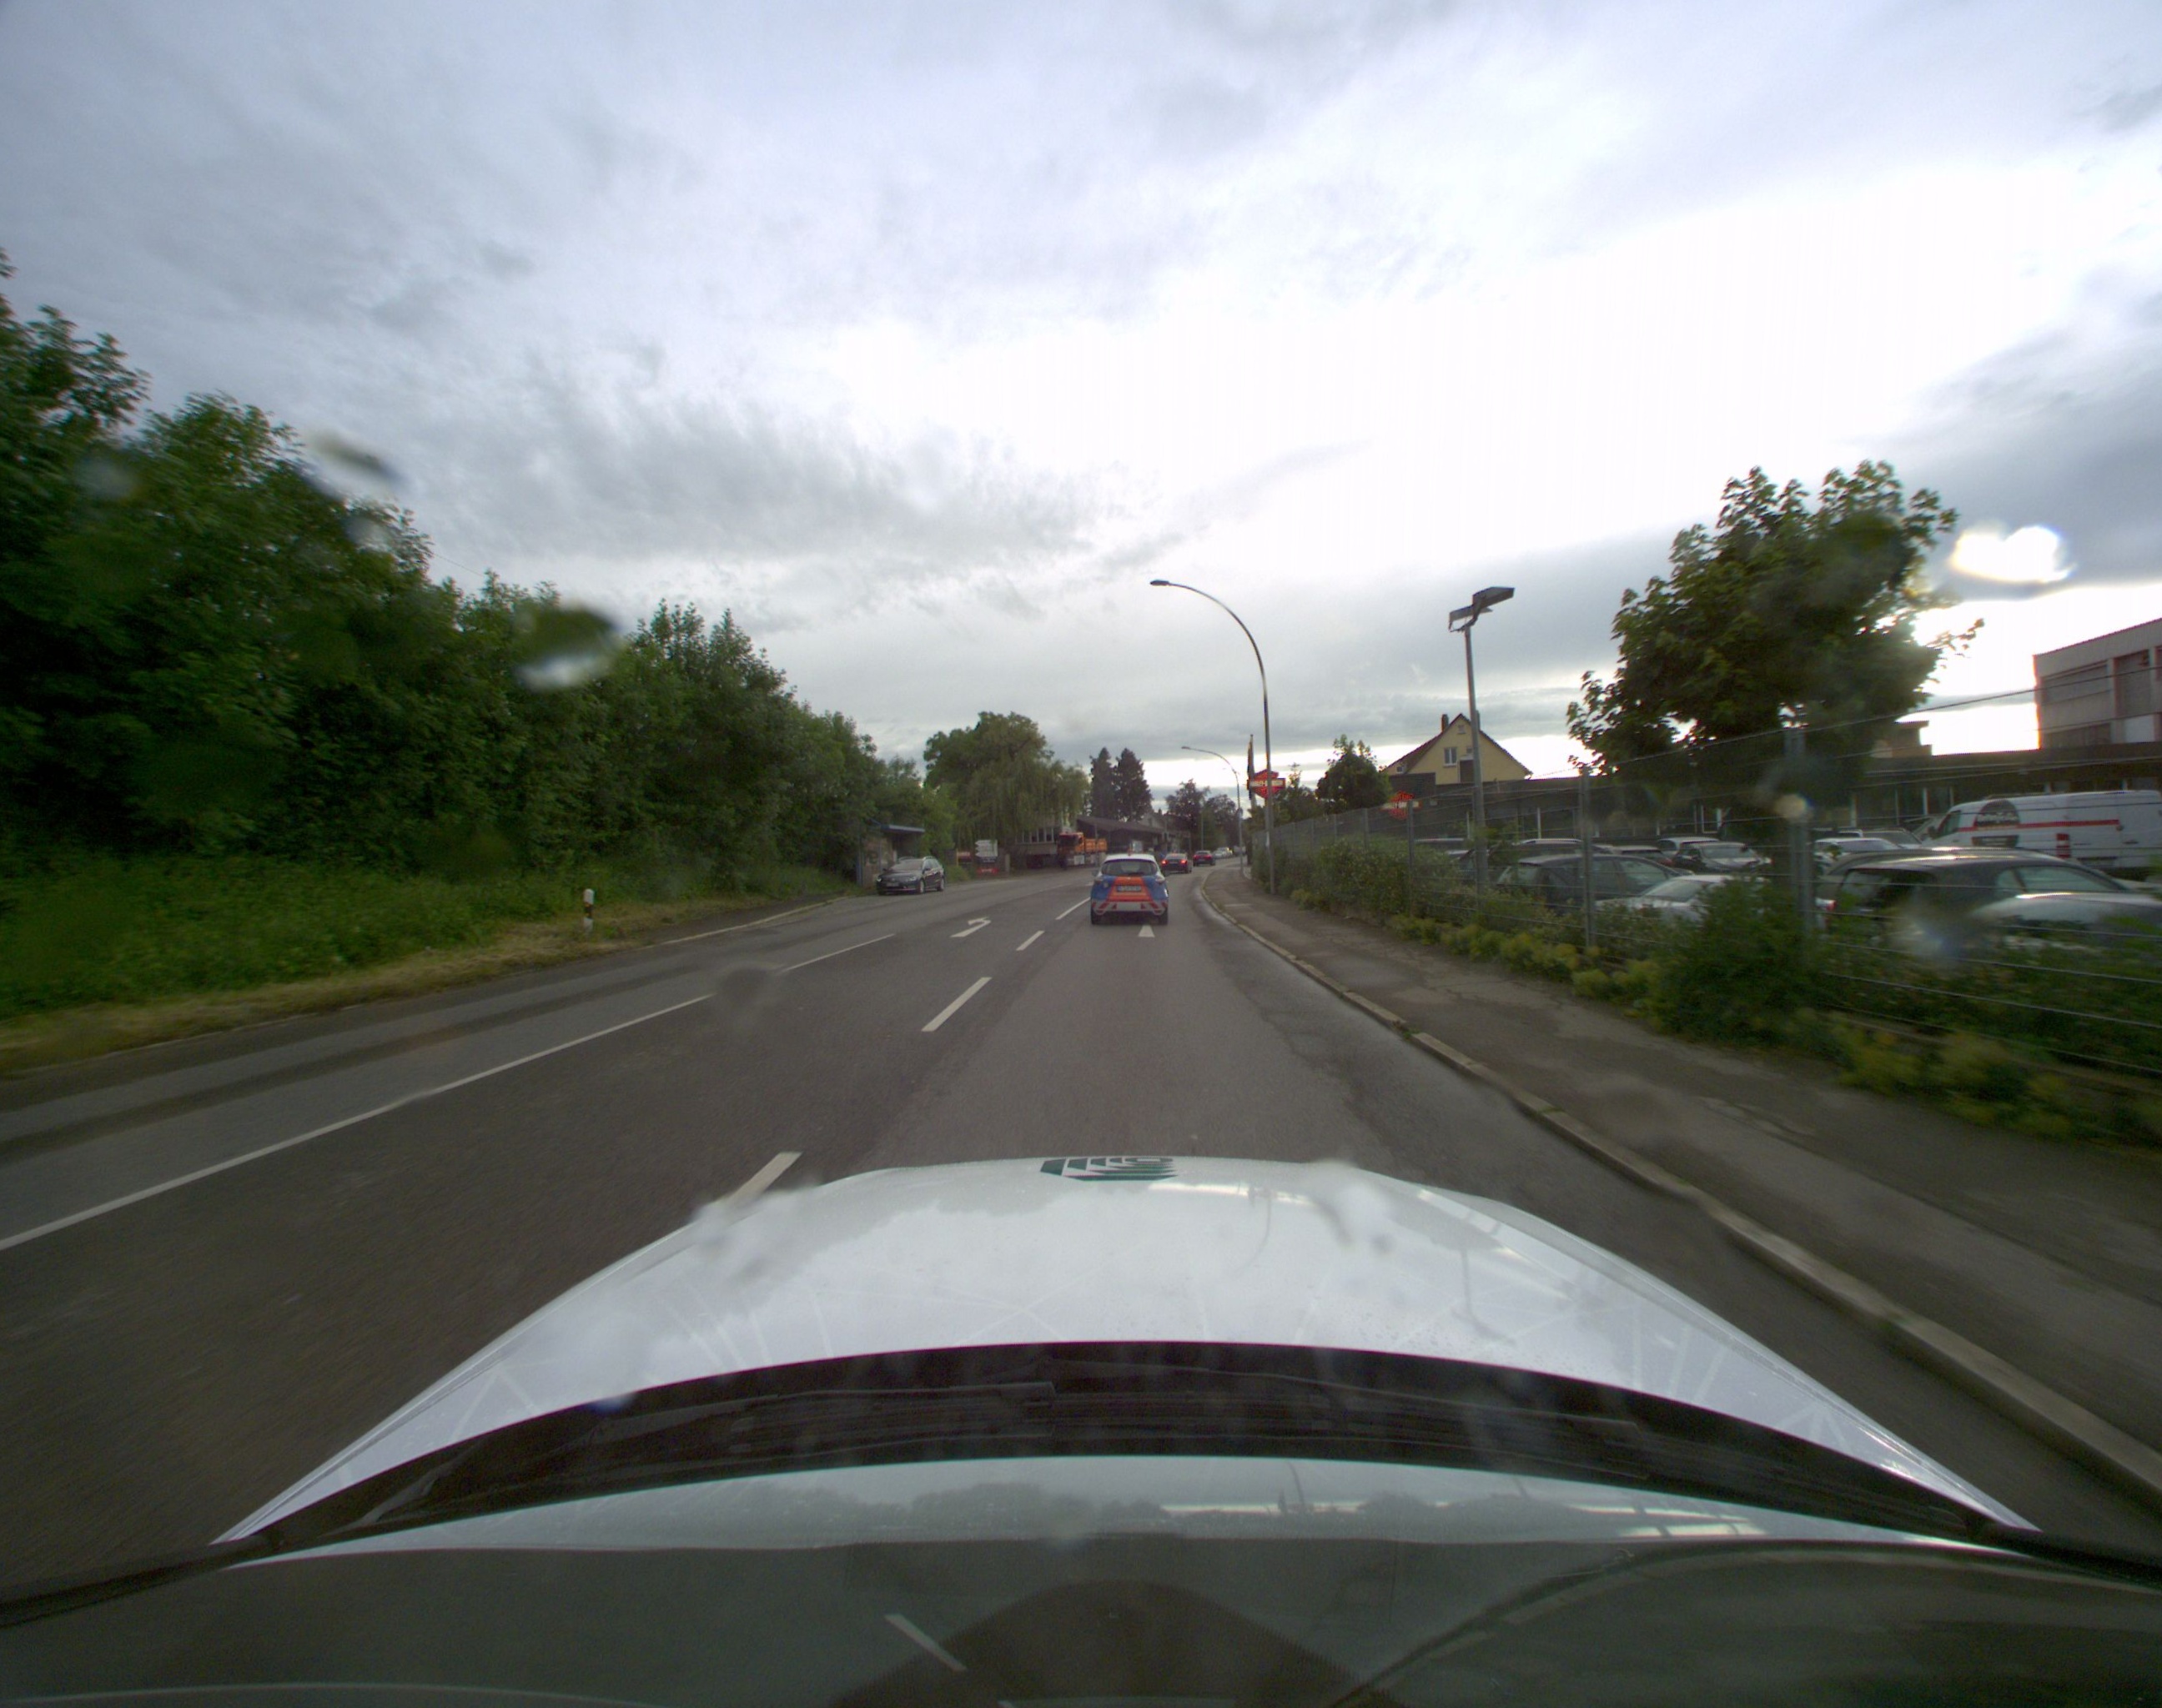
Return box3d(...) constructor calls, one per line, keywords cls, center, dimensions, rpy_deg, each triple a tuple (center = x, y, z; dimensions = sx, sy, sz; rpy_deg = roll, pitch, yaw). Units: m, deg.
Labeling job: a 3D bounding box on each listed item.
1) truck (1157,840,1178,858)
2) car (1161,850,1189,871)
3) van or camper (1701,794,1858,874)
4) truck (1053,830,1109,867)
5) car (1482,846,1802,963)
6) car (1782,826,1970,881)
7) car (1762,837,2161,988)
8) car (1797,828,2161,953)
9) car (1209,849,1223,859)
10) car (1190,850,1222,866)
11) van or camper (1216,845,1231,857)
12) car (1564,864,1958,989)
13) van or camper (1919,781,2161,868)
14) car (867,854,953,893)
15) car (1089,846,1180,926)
box3d(cls="truck", center=(14.432, -0.862, 135.378), dimensions=(2.375, 2.927, 5.984), rpy_deg=(0, 0, 17))
box3d(cls="car", center=(6.422, 0.474, 56.114), dimensions=(1.713, 1.376, 3.937), rpy_deg=(0, -1, 4))
box3d(cls="van or camper", center=(25.345, -0.702, 29.896), dimensions=(2.314, 2.557, 5.768), rpy_deg=(-2, 0, 18))
box3d(cls="truck", center=(0.102, -0.449, 83.053), dimensions=(2.675, 3.412, 9.116), rpy_deg=(0, -1, 20))
box3d(cls="car", center=(9.075, 0.799, 13.426), dimensions=(4.124, 1.772, 1.617), rpy_deg=(0, -2, 2))
box3d(cls="car", center=(22.853, 0.031, 23.693), dimensions=(1.877, 1.420, 4.481), rpy_deg=(1, -1, 13))
box3d(cls="car", center=(10.090, 0.575, 8.647), dimensions=(3.966, 1.409, 2.003), rpy_deg=(0, -1, 6))
box3d(cls="car", center=(13.294, 0.500, 12.004), dimensions=(1.777, 1.506, 4.300), rpy_deg=(0, -1, 2))
box3d(cls="car", center=(22.622, -0.008, 136.283), dimensions=(1.978, 1.644, 4.017), rpy_deg=(-1, 0, 15))
box3d(cls="car", center=(11.603, 0.415, 75.372), dimensions=(1.975, 1.420, 4.022), rpy_deg=(0, -2, 24))
box3d(cls="van or camper", center=(24.937, -0.606, 142.454), dimensions=(1.876, 2.013, 5.120), rpy_deg=(-1, 0, 17))
box3d(cls="car", center=(8.991, 0.923, 11.032), dimensions=(3.887, 1.509, 1.681), rpy_deg=(0, -1, 2))
box3d(cls="van or camper", center=(24.861, -0.625, 21.264), dimensions=(1.977, 1.938, 5.457), rpy_deg=(0, -1, 20))
box3d(cls="car", center=(-6.957, 0.818, 33.632), dimensions=(1.982, 1.474, 4.710), rpy_deg=(0, -1, 8))
box3d(cls="car", center=(1.267, 0.690, 19.365), dimensions=(1.880, 1.632, 4.004), rpy_deg=(2, 0, 4))
